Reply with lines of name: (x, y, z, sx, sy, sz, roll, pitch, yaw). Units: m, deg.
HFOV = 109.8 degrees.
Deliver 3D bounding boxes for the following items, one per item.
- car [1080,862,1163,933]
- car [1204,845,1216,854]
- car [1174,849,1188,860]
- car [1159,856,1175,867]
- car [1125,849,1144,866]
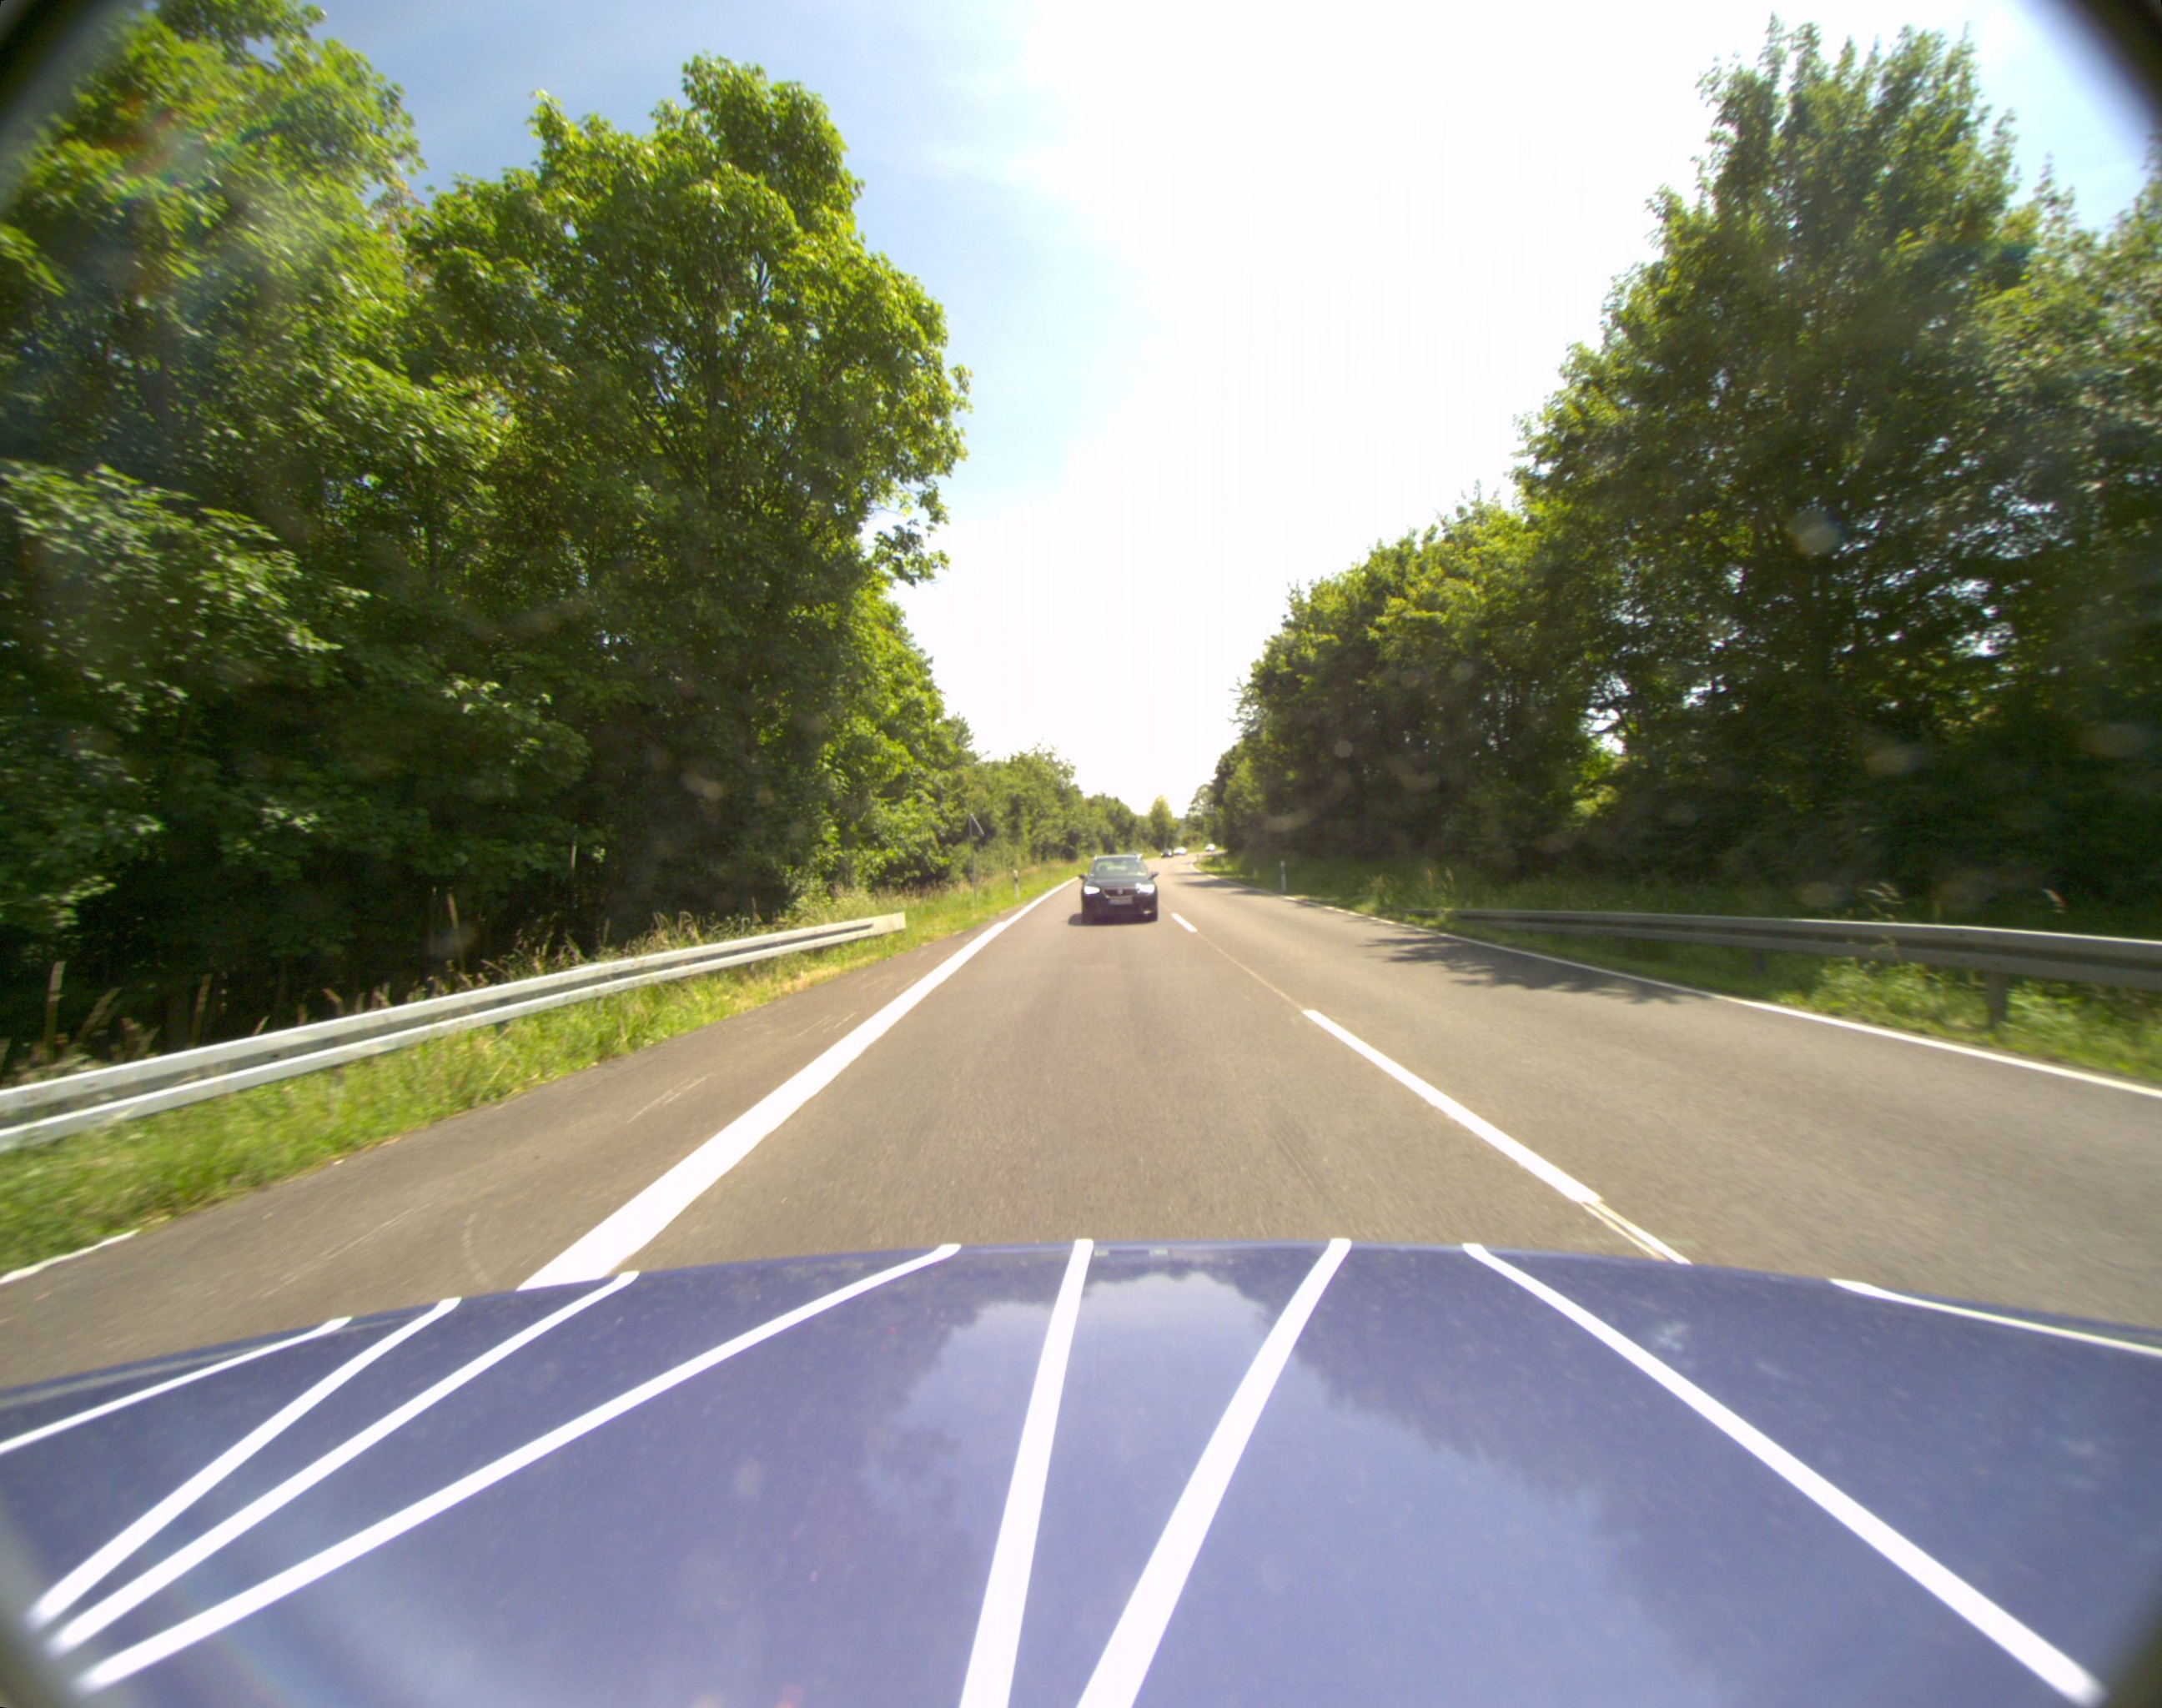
car: (0.998, 0.975, 18.498, 1.737, 1.467, 4.001, -2, -1, 3)
car: (29.805, -0.981, 176.088, 1.996, 2.002, 4.005, -3, 0, 19)
car: (18.838, 0.075, 143.156, 1.996, 2.002, 4.004, -2, 0, 14)
car: (13.815, 1.215, 121.641, 1.881, 1.698, 4.005, -2, -1, 15)
car: (5.786, 0.399, 82.055, 1.883, 1.698, 4.002, -2, -1, 6)
